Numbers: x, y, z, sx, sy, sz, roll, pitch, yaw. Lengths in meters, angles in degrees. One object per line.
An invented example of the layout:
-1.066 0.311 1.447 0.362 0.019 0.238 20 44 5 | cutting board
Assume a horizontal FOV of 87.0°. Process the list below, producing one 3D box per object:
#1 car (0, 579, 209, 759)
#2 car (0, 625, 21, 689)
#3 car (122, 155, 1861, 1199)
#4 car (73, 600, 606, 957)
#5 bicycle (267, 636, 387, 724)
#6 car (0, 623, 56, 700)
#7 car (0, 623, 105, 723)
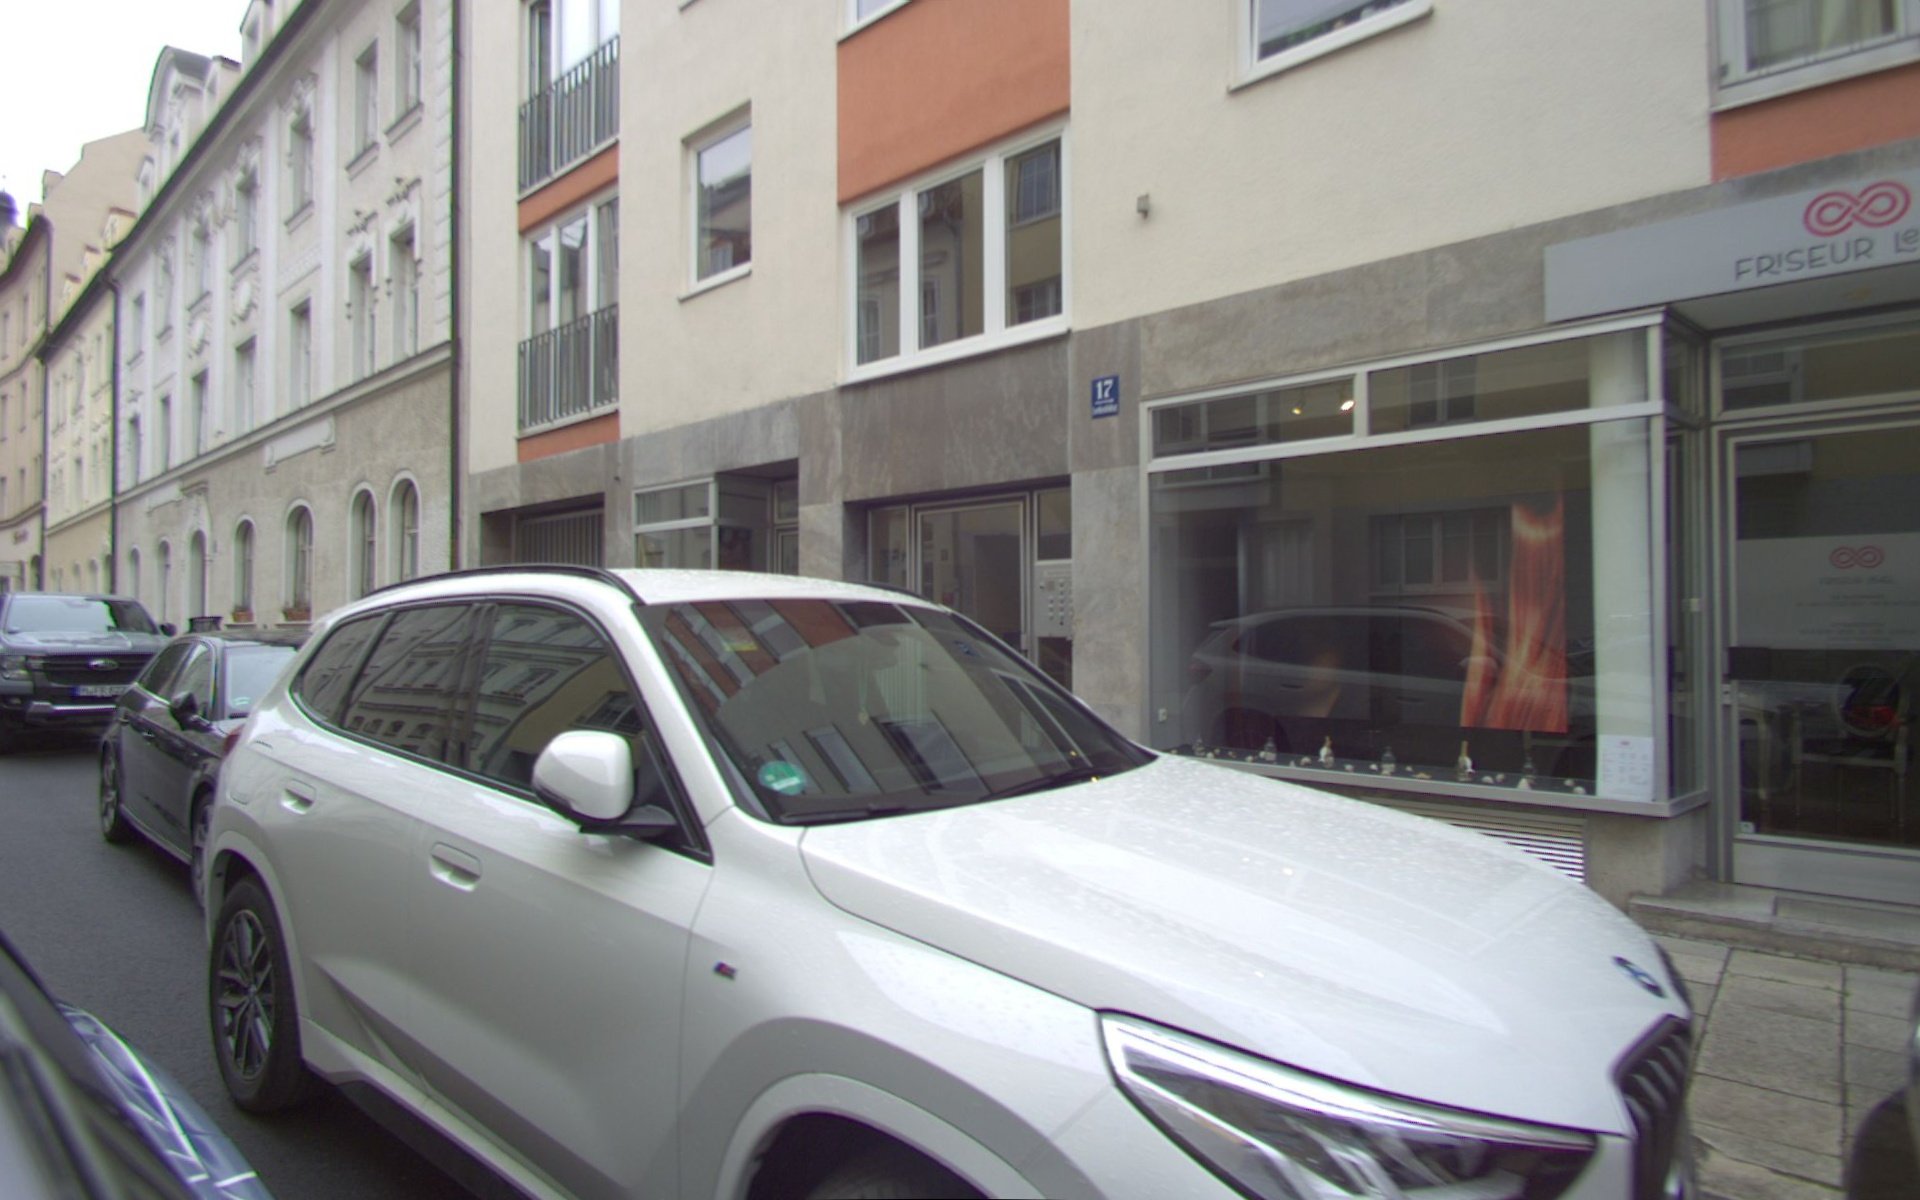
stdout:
-11.337 0.807 12.792 4.906 1.875 1.926 -1 -4 41 | car
-24.049 1.322 24.200 3.714 1.490 1.926 -1 -4 41 | car
-0.522 0.567 2.740 4.302 1.617 1.764 -2 -4 38 | car
-3.975 0.832 6.194 4.027 1.487 1.611 -2 -4 41 | car
-9.397 1.126 14.951 2.826 1.112 0.744 -2 4 44 | bicycle
-20.077 1.218 20.675 3.714 1.490 1.926 -1 -4 41 | car
-15.551 1.127 16.470 3.714 1.490 1.926 -1 -4 41 | car
